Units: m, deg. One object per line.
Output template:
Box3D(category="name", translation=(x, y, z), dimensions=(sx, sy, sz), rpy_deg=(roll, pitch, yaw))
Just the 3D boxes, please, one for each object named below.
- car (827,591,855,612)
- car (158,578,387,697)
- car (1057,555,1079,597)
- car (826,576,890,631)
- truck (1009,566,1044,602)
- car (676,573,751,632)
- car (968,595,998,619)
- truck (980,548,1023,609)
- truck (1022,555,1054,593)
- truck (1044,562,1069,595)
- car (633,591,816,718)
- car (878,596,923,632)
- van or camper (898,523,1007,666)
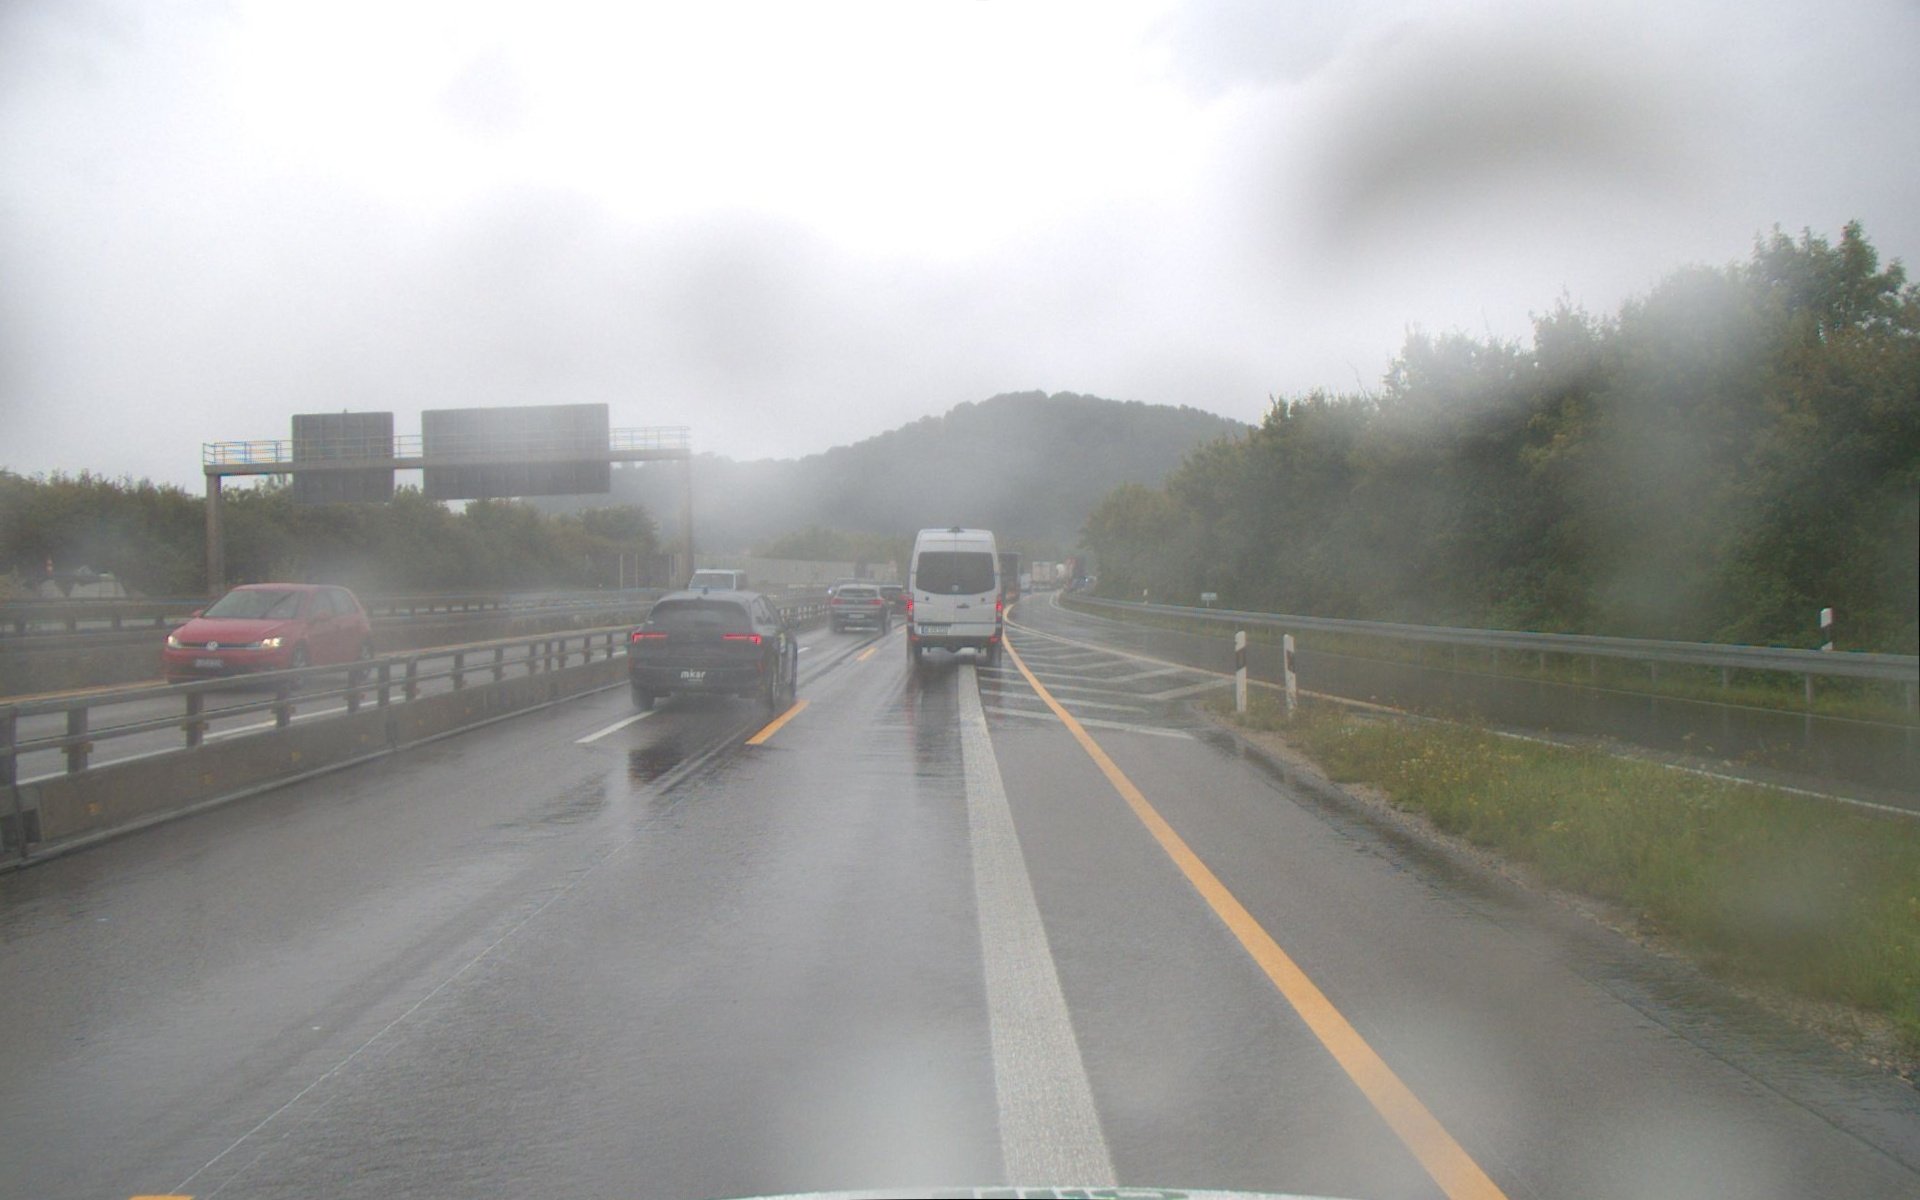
Box3D(category="car", translation=(-7.843, 0.110, 109.013), dimensions=(1.598, 1.374, 3.654), rpy_deg=(0, 0, -1))
Box3D(category="car", translation=(-9.835, 0.501, 24.006), dimensions=(1.575, 1.530, 4.216), rpy_deg=(1, 0, -1))
Box3D(category="car", translation=(11.302, -2.505, 172.878), dimensions=(2.015, 4.265, 6.747), rpy_deg=(0, 0, 2))
Box3D(category="car", translation=(-3.243, 0.115, 53.117), dimensions=(1.829, 1.688, 3.987), rpy_deg=(0, 0, -1))
Box3D(category="truck", translation=(7.299, -1.724, 182.808), dimensions=(3.253, 3.827, 9.905), rpy_deg=(1, 0, 0))
Box3D(category="car", translation=(-9.151, 0.092, 61.850), dimensions=(1.869, 2.049, 5.828), rpy_deg=(1, 0, 0))
Box3D(category="car", translation=(1.248, 0.370, 91.258), dimensions=(1.357, 1.278, 3.119), rpy_deg=(0, 0, -5))
Box3D(category="truck", translation=(3.431, -1.715, 139.786), dimensions=(3.253, 4.868, 9.905), rpy_deg=(1, 0, 0))
Box3D(category="truck", translation=(10.537, -3.449, 222.589), dimensions=(3.846, 4.868, 9.911), rpy_deg=(1, 0, 4))
Box3D(category="truck", translation=(15.273, -3.329, 261.087), dimensions=(3.846, 4.868, 9.911), rpy_deg=(1, 0, 4))
Box3D(category="car", translation=(-2.929, 0.633, 21.555), dimensions=(1.900, 1.452, 4.757), rpy_deg=(1, 0, -3))
Box3D(category="car", translation=(-2.610, 0.613, 73.509), dimensions=(1.814, 1.527, 4.000), rpy_deg=(0, 0, 0))
Box3D(category="van or camper", translation=(-0.144, -0.117, 34.491), dimensions=(2.095, 2.769, 4.648), rpy_deg=(0, 0, 0))
